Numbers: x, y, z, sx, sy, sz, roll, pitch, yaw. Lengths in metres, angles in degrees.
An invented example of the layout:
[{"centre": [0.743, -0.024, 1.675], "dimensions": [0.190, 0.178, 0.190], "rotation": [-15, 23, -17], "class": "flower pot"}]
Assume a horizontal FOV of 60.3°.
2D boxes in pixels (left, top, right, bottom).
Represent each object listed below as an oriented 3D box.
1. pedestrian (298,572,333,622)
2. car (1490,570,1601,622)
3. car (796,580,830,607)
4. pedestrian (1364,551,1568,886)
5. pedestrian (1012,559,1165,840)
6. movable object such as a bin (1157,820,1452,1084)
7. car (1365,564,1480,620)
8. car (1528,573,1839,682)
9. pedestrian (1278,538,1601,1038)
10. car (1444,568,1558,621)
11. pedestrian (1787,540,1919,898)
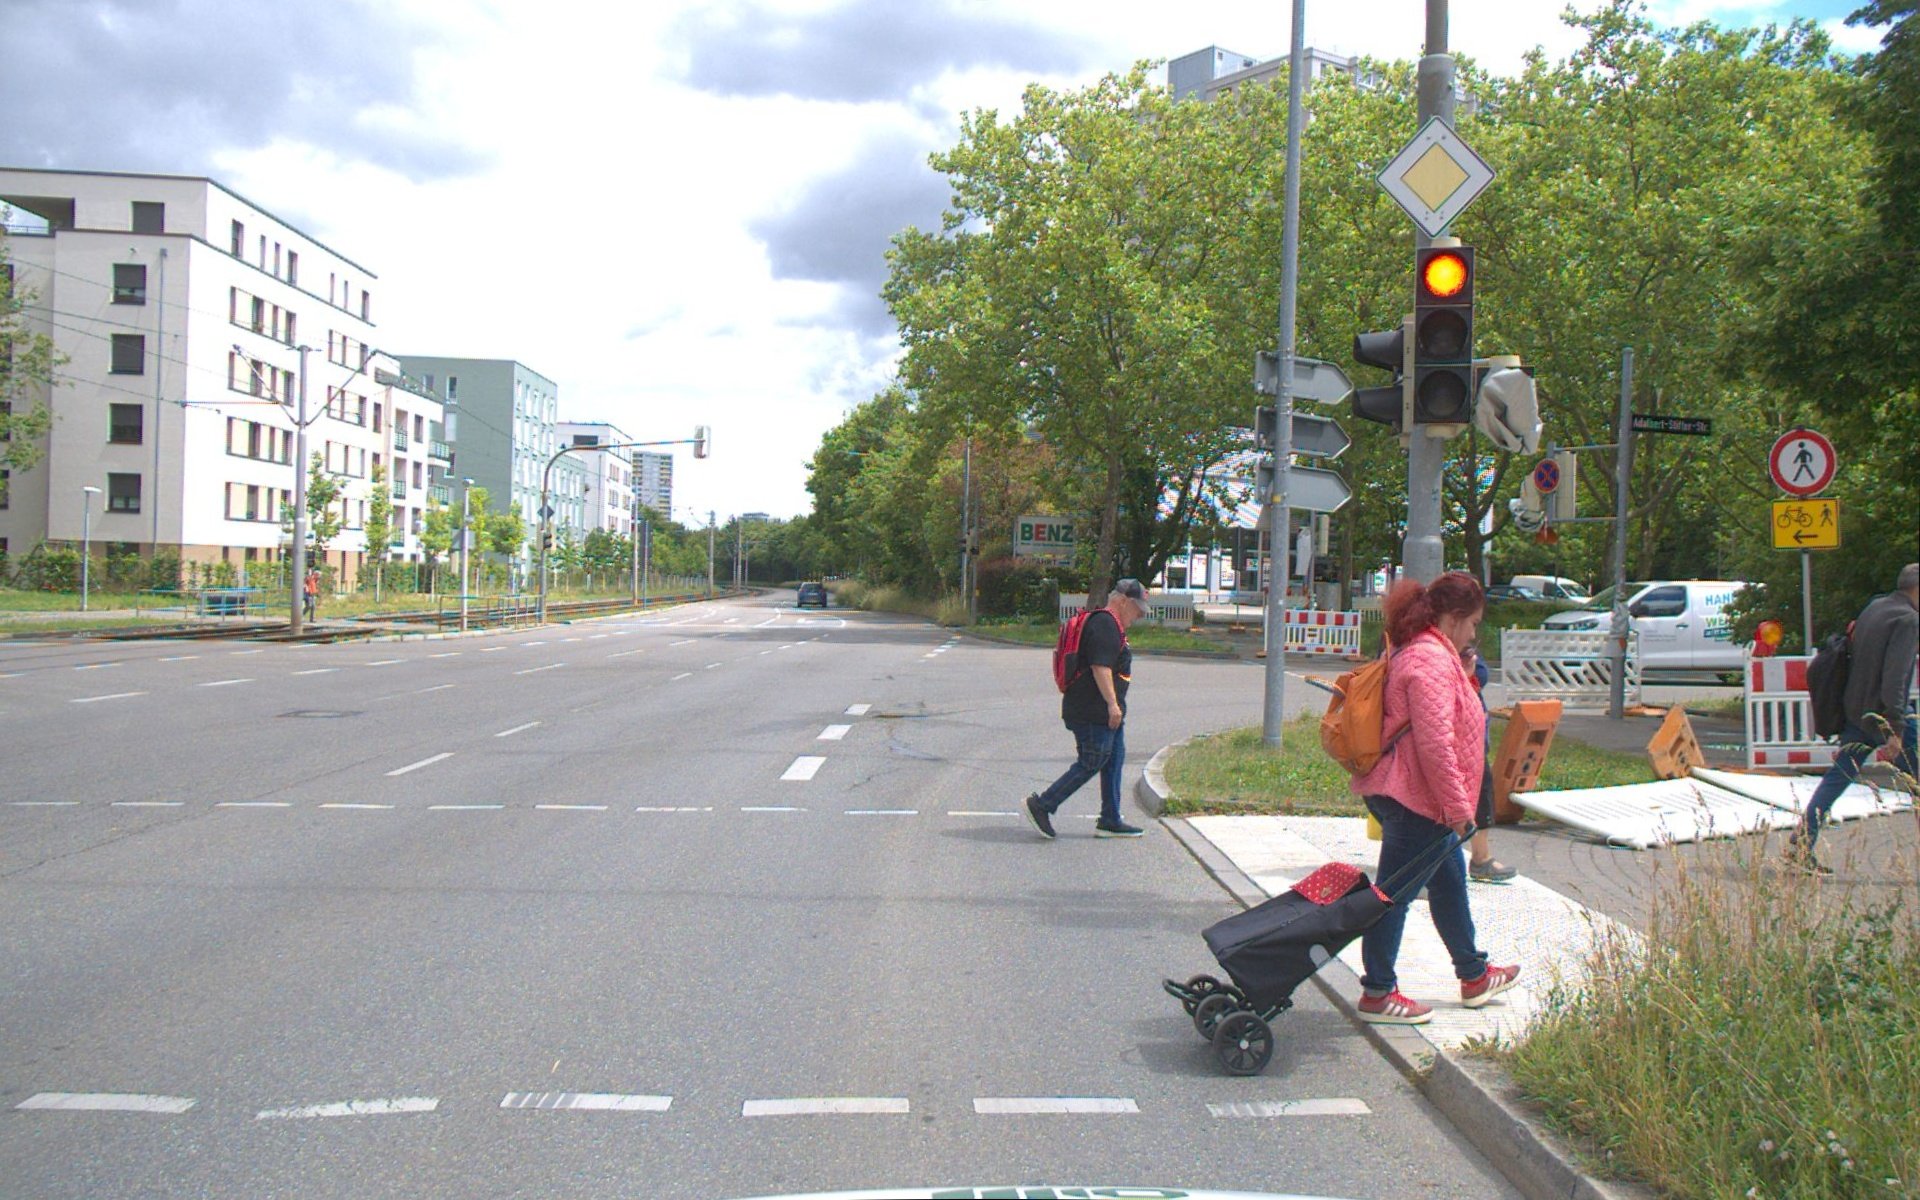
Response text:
[{"centre": [-19.804, -0.095, 50.842], "dimensions": [0.814, 1.542, 0.636], "rotation": [1, 0, -1], "class": "pedestrian"}, {"centre": [23.936, -0.183, 67.697], "dimensions": [1.974, 2.049, 3.957], "rotation": [0, 1, -32], "class": "car"}, {"centre": [-8.746, -0.399, 98.322], "dimensions": [1.944, 1.512, 4.485], "rotation": [1, 1, -6], "class": "car"}, {"centre": [2.613, 0.574, 8.652], "dimensions": [0.893, 1.635, 0.930], "rotation": [1, 0, 10], "class": "pedestrian"}, {"centre": [0.806, 0.575, 10.123], "dimensions": [0.873, 1.624, 0.909], "rotation": [1, 0, 7], "class": "pedestrian"}, {"centre": [1.075, 1.105, 5.334], "dimensions": [0.779, 0.673, 0.778], "rotation": [1, 0, -1], "class": "movable object such as a bin"}, {"centre": [17.524, -0.315, 62.826], "dimensions": [1.974, 2.049, 3.957], "rotation": [0, 1, -32], "class": "car"}, {"centre": [13.429, 0.498, 30.860], "dimensions": [4.976, 1.906, 1.947], "rotation": [1, 0, -5], "class": "car"}, {"centre": [1.596, 0.596, 5.629], "dimensions": [0.863, 1.582, 0.746], "rotation": [1, 0, -1], "class": "pedestrian"}, {"centre": [21.368, -0.236, 65.460], "dimensions": [1.974, 2.049, 3.957], "rotation": [0, 1, -32], "class": "car"}, {"centre": [5.140, 0.599, 8.810], "dimensions": [0.982, 1.804, 0.929], "rotation": [1, 0, -1], "class": "pedestrian"}]
